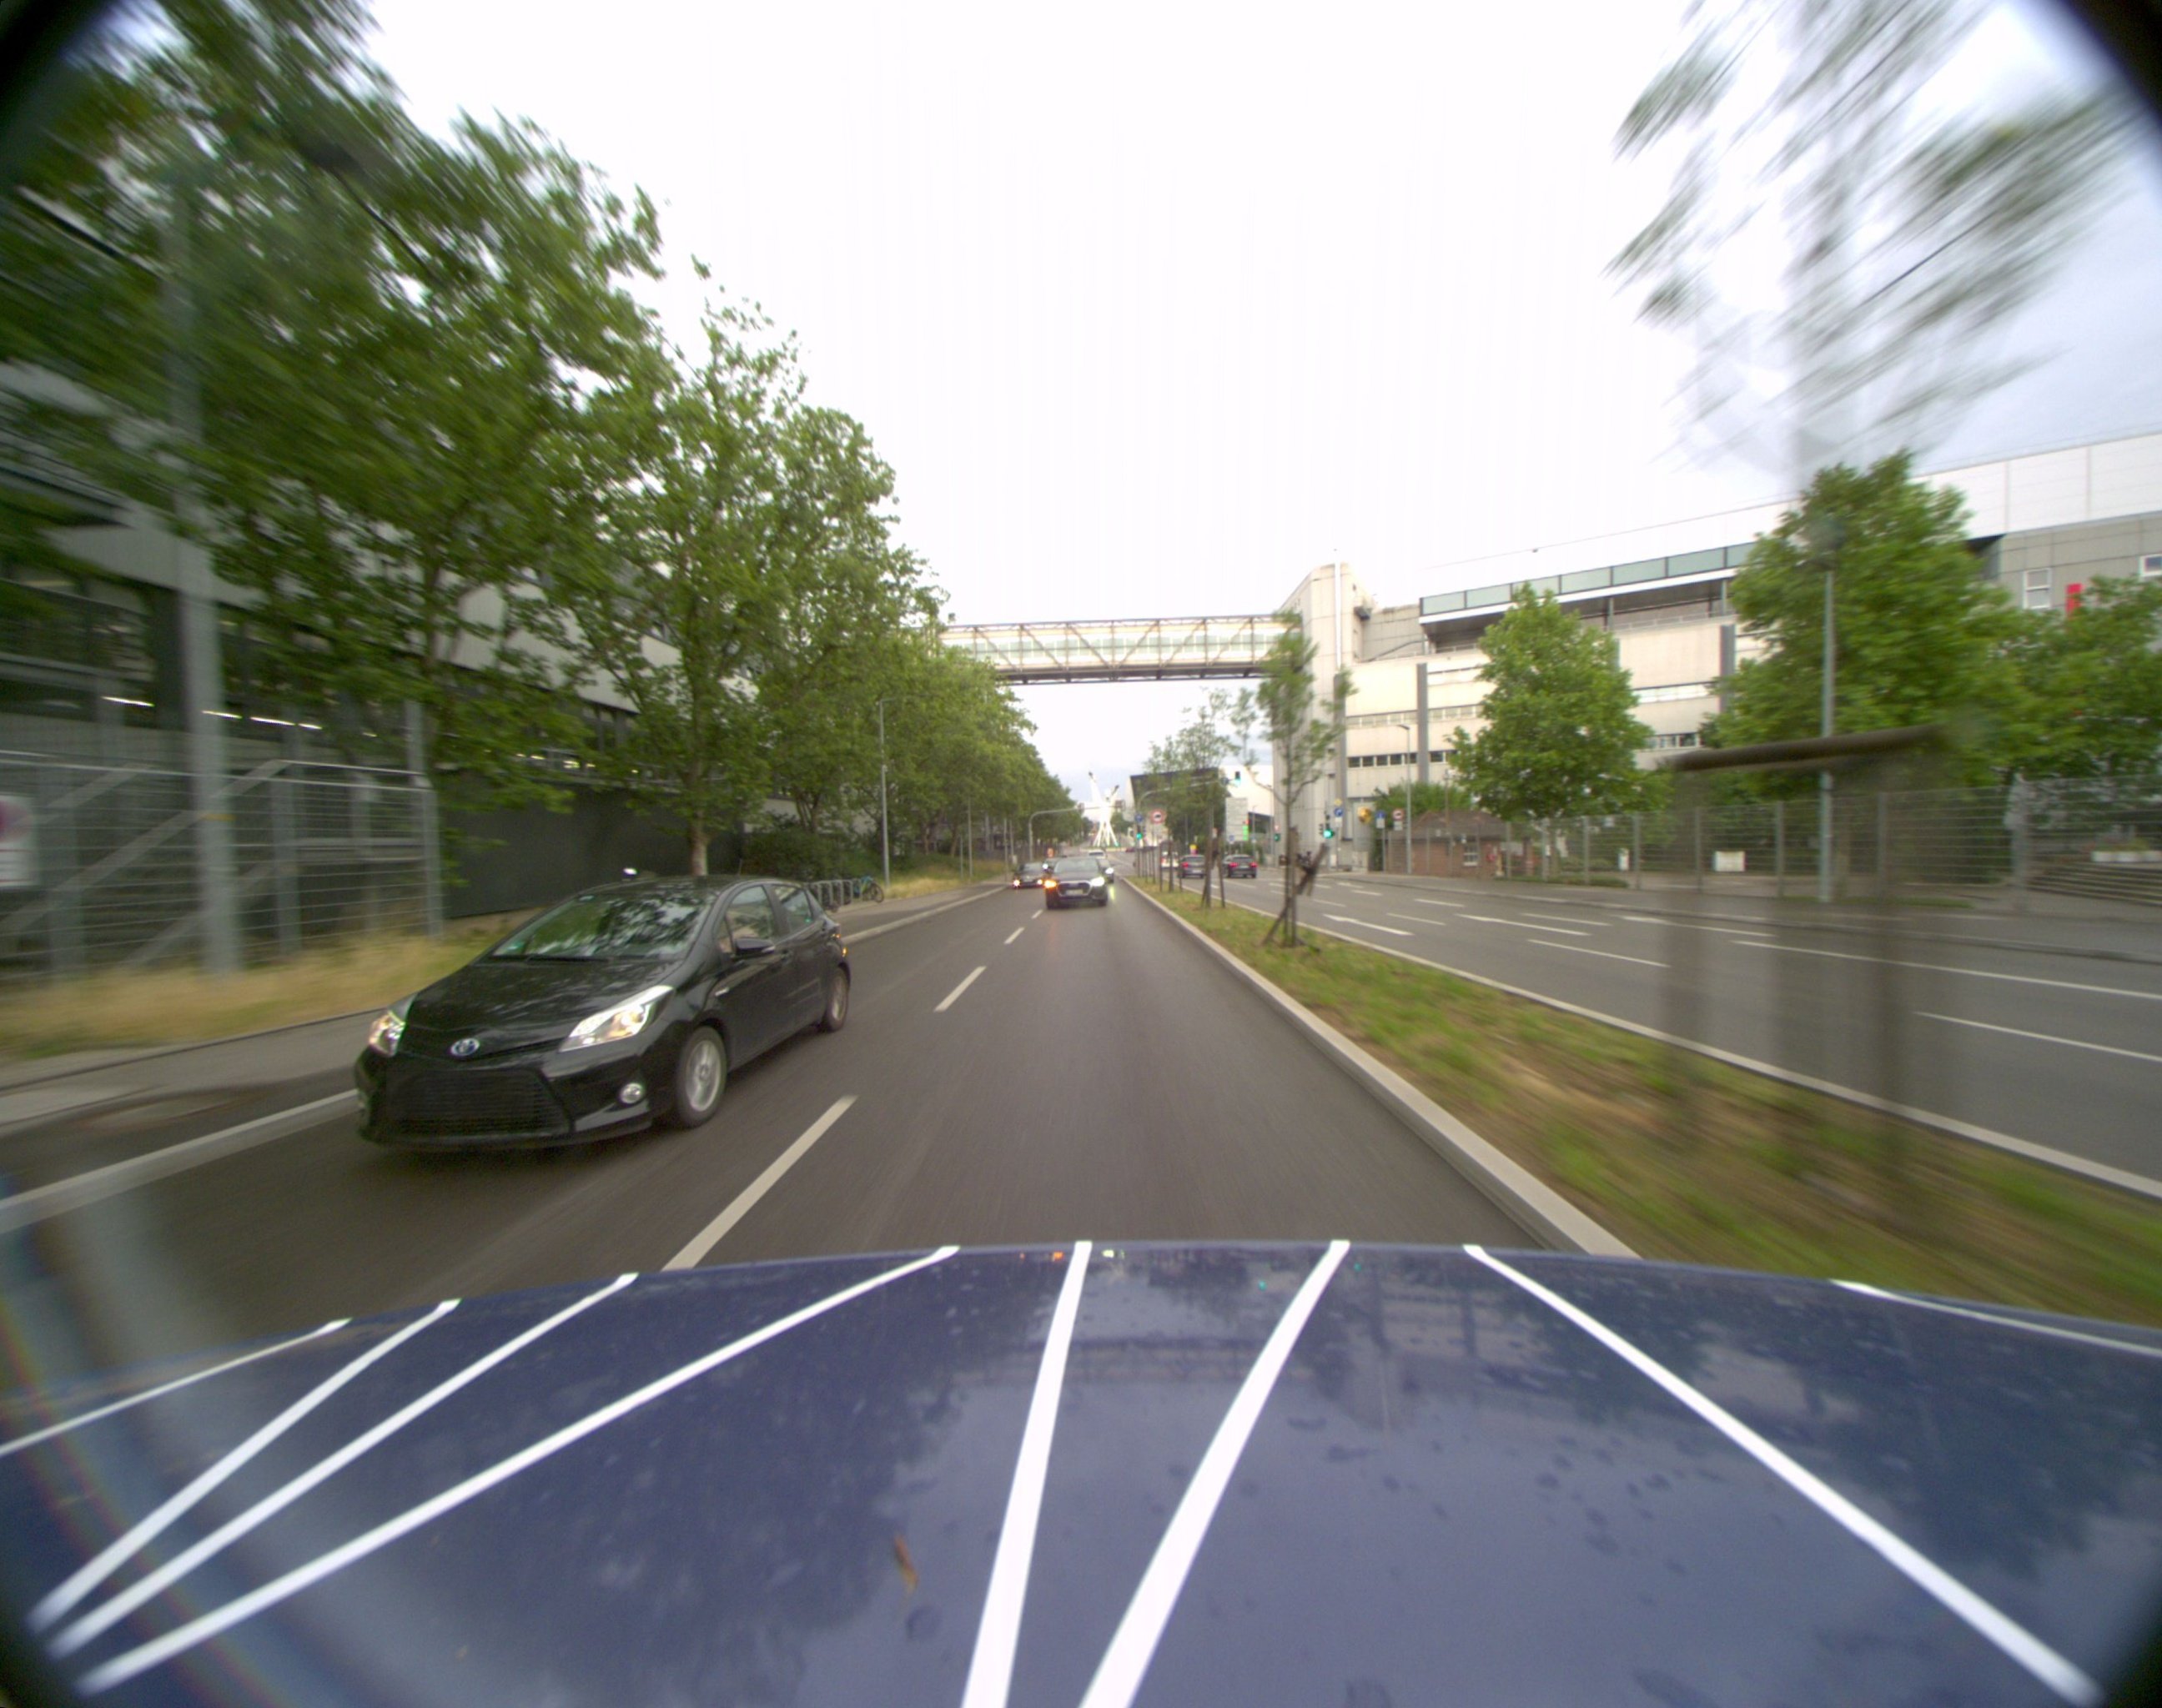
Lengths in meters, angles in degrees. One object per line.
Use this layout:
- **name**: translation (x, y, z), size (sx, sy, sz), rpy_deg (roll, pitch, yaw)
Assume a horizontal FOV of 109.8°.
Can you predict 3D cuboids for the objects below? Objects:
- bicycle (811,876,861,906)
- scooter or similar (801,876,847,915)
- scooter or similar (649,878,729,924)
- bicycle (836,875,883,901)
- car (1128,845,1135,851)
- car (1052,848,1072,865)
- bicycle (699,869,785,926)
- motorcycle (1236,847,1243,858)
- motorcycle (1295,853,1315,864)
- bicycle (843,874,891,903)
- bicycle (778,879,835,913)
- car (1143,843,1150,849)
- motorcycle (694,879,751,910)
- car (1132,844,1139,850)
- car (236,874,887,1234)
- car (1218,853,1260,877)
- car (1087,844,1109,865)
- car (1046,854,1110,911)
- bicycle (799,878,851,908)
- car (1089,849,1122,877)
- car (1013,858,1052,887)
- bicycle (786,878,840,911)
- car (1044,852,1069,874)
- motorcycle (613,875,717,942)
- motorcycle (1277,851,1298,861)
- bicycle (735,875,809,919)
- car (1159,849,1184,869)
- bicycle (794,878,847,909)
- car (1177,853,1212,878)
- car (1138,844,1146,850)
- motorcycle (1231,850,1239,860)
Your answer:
- **bicycle**: translation (-8.295, 1.259, 25.759), size (1.555, 0.999, 0.393), rpy_deg (0, 1, 1)
- **scooter or similar**: translation (-7.375, 1.176, 21.821), size (1.216, 1.085, 0.312), rpy_deg (0, 1, -3)
- **scooter or similar**: translation (-8.440, 0.994, 16.396), size (1.478, 0.931, 0.366), rpy_deg (-1, 1, -16)
- **bicycle**: translation (-8.325, 1.274, 28.565), size (1.611, 0.934, 0.387), rpy_deg (0, 1, 1)
- **car**: translation (13.715, -1.714, 207.249), size (1.776, 1.580, 4.485), rpy_deg (0, 1, 3)
- **car**: translation (-1.912, 0.232, 76.680), size (1.820, 1.571, 4.332), rpy_deg (-2, 1, 1)
- **bicycle**: translation (-8.395, 1.067, 18.873), size (1.864, 1.340, 0.447), rpy_deg (-1, 1, -11)
- **motorcycle**: translation (19.274, -0.221, 92.317), size (0.626, 1.260, 2.171), rpy_deg (-2, 1, 7)
- **motorcycle**: translation (21.926, 0.398, 74.371), size (0.627, 1.021, 2.166), rpy_deg (-1, 1, -26)
- **bicycle**: translation (-7.530, 1.214, 26.750), size (1.555, 0.999, 0.393), rpy_deg (0, 1, 1)
- **bicycle**: translation (-8.267, 1.254, 22.924), size (1.555, 0.999, 0.393), rpy_deg (0, 1, 1)
- **car**: translation (18.524, -2.228, 214.445), size (1.776, 1.580, 4.485), rpy_deg (0, 1, 3)
- **motorcycle**: translation (-11.873, 1.327, 25.181), size (1.611, 0.996, 0.577), rpy_deg (0, 1, 1)
- **car**: translation (15.457, -1.899, 214.838), size (1.776, 1.580, 4.485), rpy_deg (0, 1, 3)
- **car**: translation (-3.033, 1.005, 5.893), size (1.749, 1.461, 4.640), rpy_deg (-2, 1, 1)
- **car**: translation (9.831, 0.667, 47.702), size (1.777, 1.395, 4.614), rpy_deg (0, 1, 1)
- **car**: translation (1.686, 0.008, 75.307), size (2.035, 1.920, 4.332), rpy_deg (-2, 1, 1)
- **car**: translation (-0.051, 0.819, 24.958), size (1.820, 1.536, 5.608), rpy_deg (-2, 1, 1)
- **bicycle**: translation (-8.365, 1.281, 24.839), size (1.555, 0.953, 0.393), rpy_deg (0, 1, 1)
- **car**: translation (1.399, 0.538, 44.180), size (1.820, 1.536, 4.064), rpy_deg (0, -1, 1)
- **car**: translation (-2.632, 0.983, 42.342), size (1.749, 1.422, 4.516), rpy_deg (-2, 1, 1)
- **bicycle**: translation (-8.381, 1.259, 23.777), size (1.555, 0.999, 0.393), rpy_deg (0, 1, 1)
- **car**: translation (-1.939, 0.702, 61.420), size (1.825, 1.581, 4.332), rpy_deg (-2, 1, 1)
- **motorcycle**: translation (-8.191, 1.052, 14.960), size (2.011, 1.265, 0.442), rpy_deg (0, 1, 13)
- **motorcycle**: translation (20.699, 0.214, 76.331), size (0.628, 1.021, 2.165), rpy_deg (-1, 1, -34)
- **bicycle**: translation (-8.392, 1.166, 20.643), size (1.793, 1.160, 0.447), rpy_deg (0, 1, -5)
- **car**: translation (7.809, 0.397, 65.794), size (1.776, 1.580, 4.485), rpy_deg (0, 1, 3)
- **bicycle**: translation (-8.367, 1.267, 24.422), size (1.555, 0.953, 0.393), rpy_deg (0, 1, 1)
- **car**: translation (6.900, 0.668, 46.417), size (1.581, 1.395, 4.111), rpy_deg (0, 1, 1)
- **car**: translation (16.624, -1.830, 205.853), size (2.036, 1.580, 4.485), rpy_deg (0, 1, 3)
- **motorcycle**: translation (19.321, 0.126, 95.515), size (0.626, 1.208, 1.968), rpy_deg (0, 1, 2)
